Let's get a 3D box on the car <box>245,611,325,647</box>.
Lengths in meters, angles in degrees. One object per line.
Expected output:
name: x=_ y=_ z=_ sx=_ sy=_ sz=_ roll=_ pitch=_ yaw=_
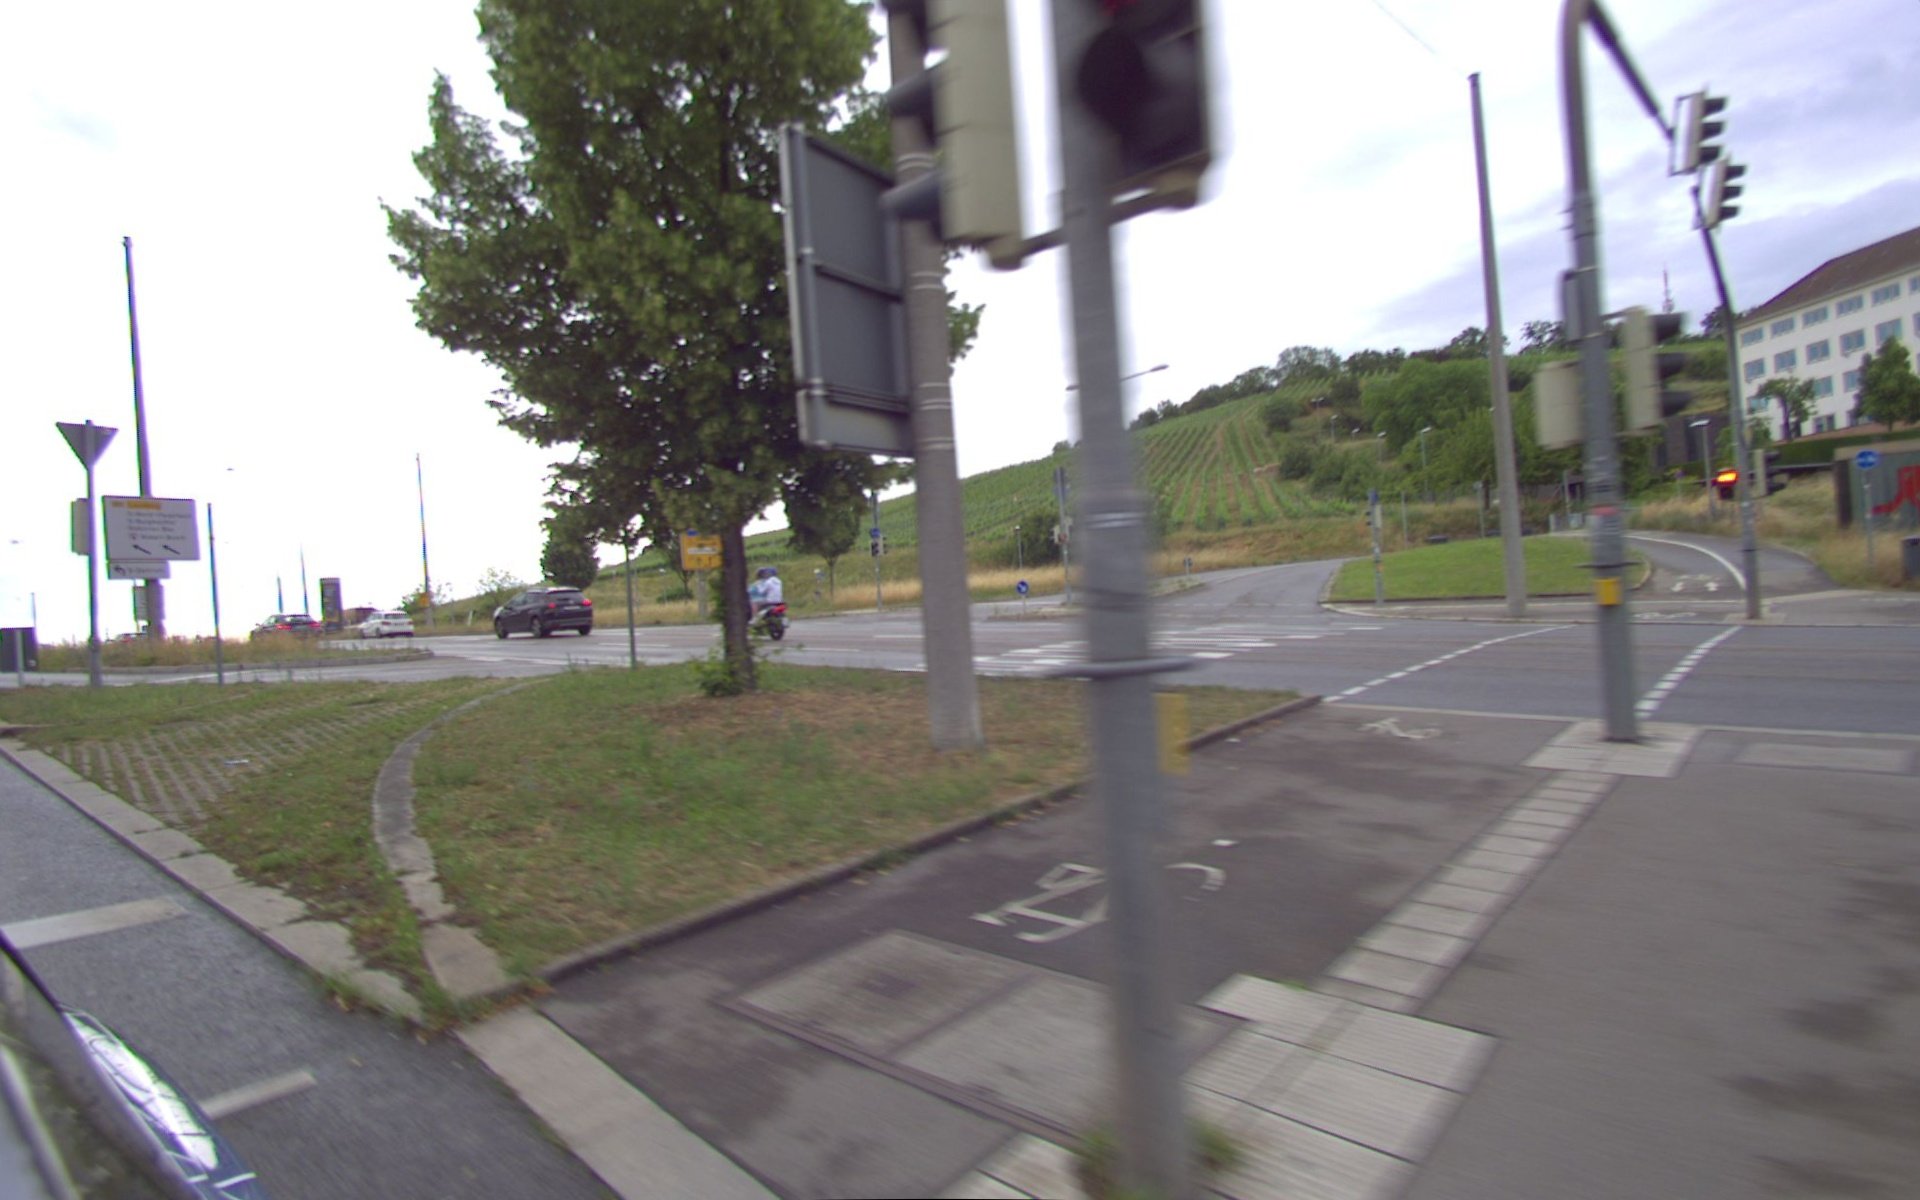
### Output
car: x=-31.092 y=1.316 z=46.553 sx=4.458 sy=1.515 sz=1.734 roll=-1 pitch=1 yaw=39

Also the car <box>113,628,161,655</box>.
car: x=-53.777 y=2.727 z=66.140 sx=3.998 sy=1.529 sz=1.749 roll=-5 pitch=-1 yaw=41

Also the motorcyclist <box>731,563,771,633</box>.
motorcyclist: x=-4.934 y=-0.039 z=23.894 sx=0.643 sy=1.608 sz=0.576 roll=-3 pitch=0 yaw=40

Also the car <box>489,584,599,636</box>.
car: x=-13.045 y=0.294 z=31.684 sx=3.656 sy=1.515 sz=1.524 roll=-1 pitch=2 yaw=37

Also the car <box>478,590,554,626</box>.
car: x=-20.112 y=0.377 z=45.786 sx=3.772 sy=1.474 sz=1.634 roll=-3 pitch=0 yaw=41

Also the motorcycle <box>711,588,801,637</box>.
motorcycle: x=-4.817 y=0.306 z=23.782 sx=2.500 sy=1.058 sz=0.610 roll=-3 pitch=0 yaw=41

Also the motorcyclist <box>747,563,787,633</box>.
motorcyclist: x=-4.474 y=-0.043 z=23.449 sx=0.581 sy=1.593 sz=0.606 roll=-3 pitch=0 yaw=40

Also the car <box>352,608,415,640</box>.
car: x=-32.472 y=1.336 z=56.981 sx=4.176 sy=1.660 sz=1.749 roll=0 pitch=2 yaw=41
